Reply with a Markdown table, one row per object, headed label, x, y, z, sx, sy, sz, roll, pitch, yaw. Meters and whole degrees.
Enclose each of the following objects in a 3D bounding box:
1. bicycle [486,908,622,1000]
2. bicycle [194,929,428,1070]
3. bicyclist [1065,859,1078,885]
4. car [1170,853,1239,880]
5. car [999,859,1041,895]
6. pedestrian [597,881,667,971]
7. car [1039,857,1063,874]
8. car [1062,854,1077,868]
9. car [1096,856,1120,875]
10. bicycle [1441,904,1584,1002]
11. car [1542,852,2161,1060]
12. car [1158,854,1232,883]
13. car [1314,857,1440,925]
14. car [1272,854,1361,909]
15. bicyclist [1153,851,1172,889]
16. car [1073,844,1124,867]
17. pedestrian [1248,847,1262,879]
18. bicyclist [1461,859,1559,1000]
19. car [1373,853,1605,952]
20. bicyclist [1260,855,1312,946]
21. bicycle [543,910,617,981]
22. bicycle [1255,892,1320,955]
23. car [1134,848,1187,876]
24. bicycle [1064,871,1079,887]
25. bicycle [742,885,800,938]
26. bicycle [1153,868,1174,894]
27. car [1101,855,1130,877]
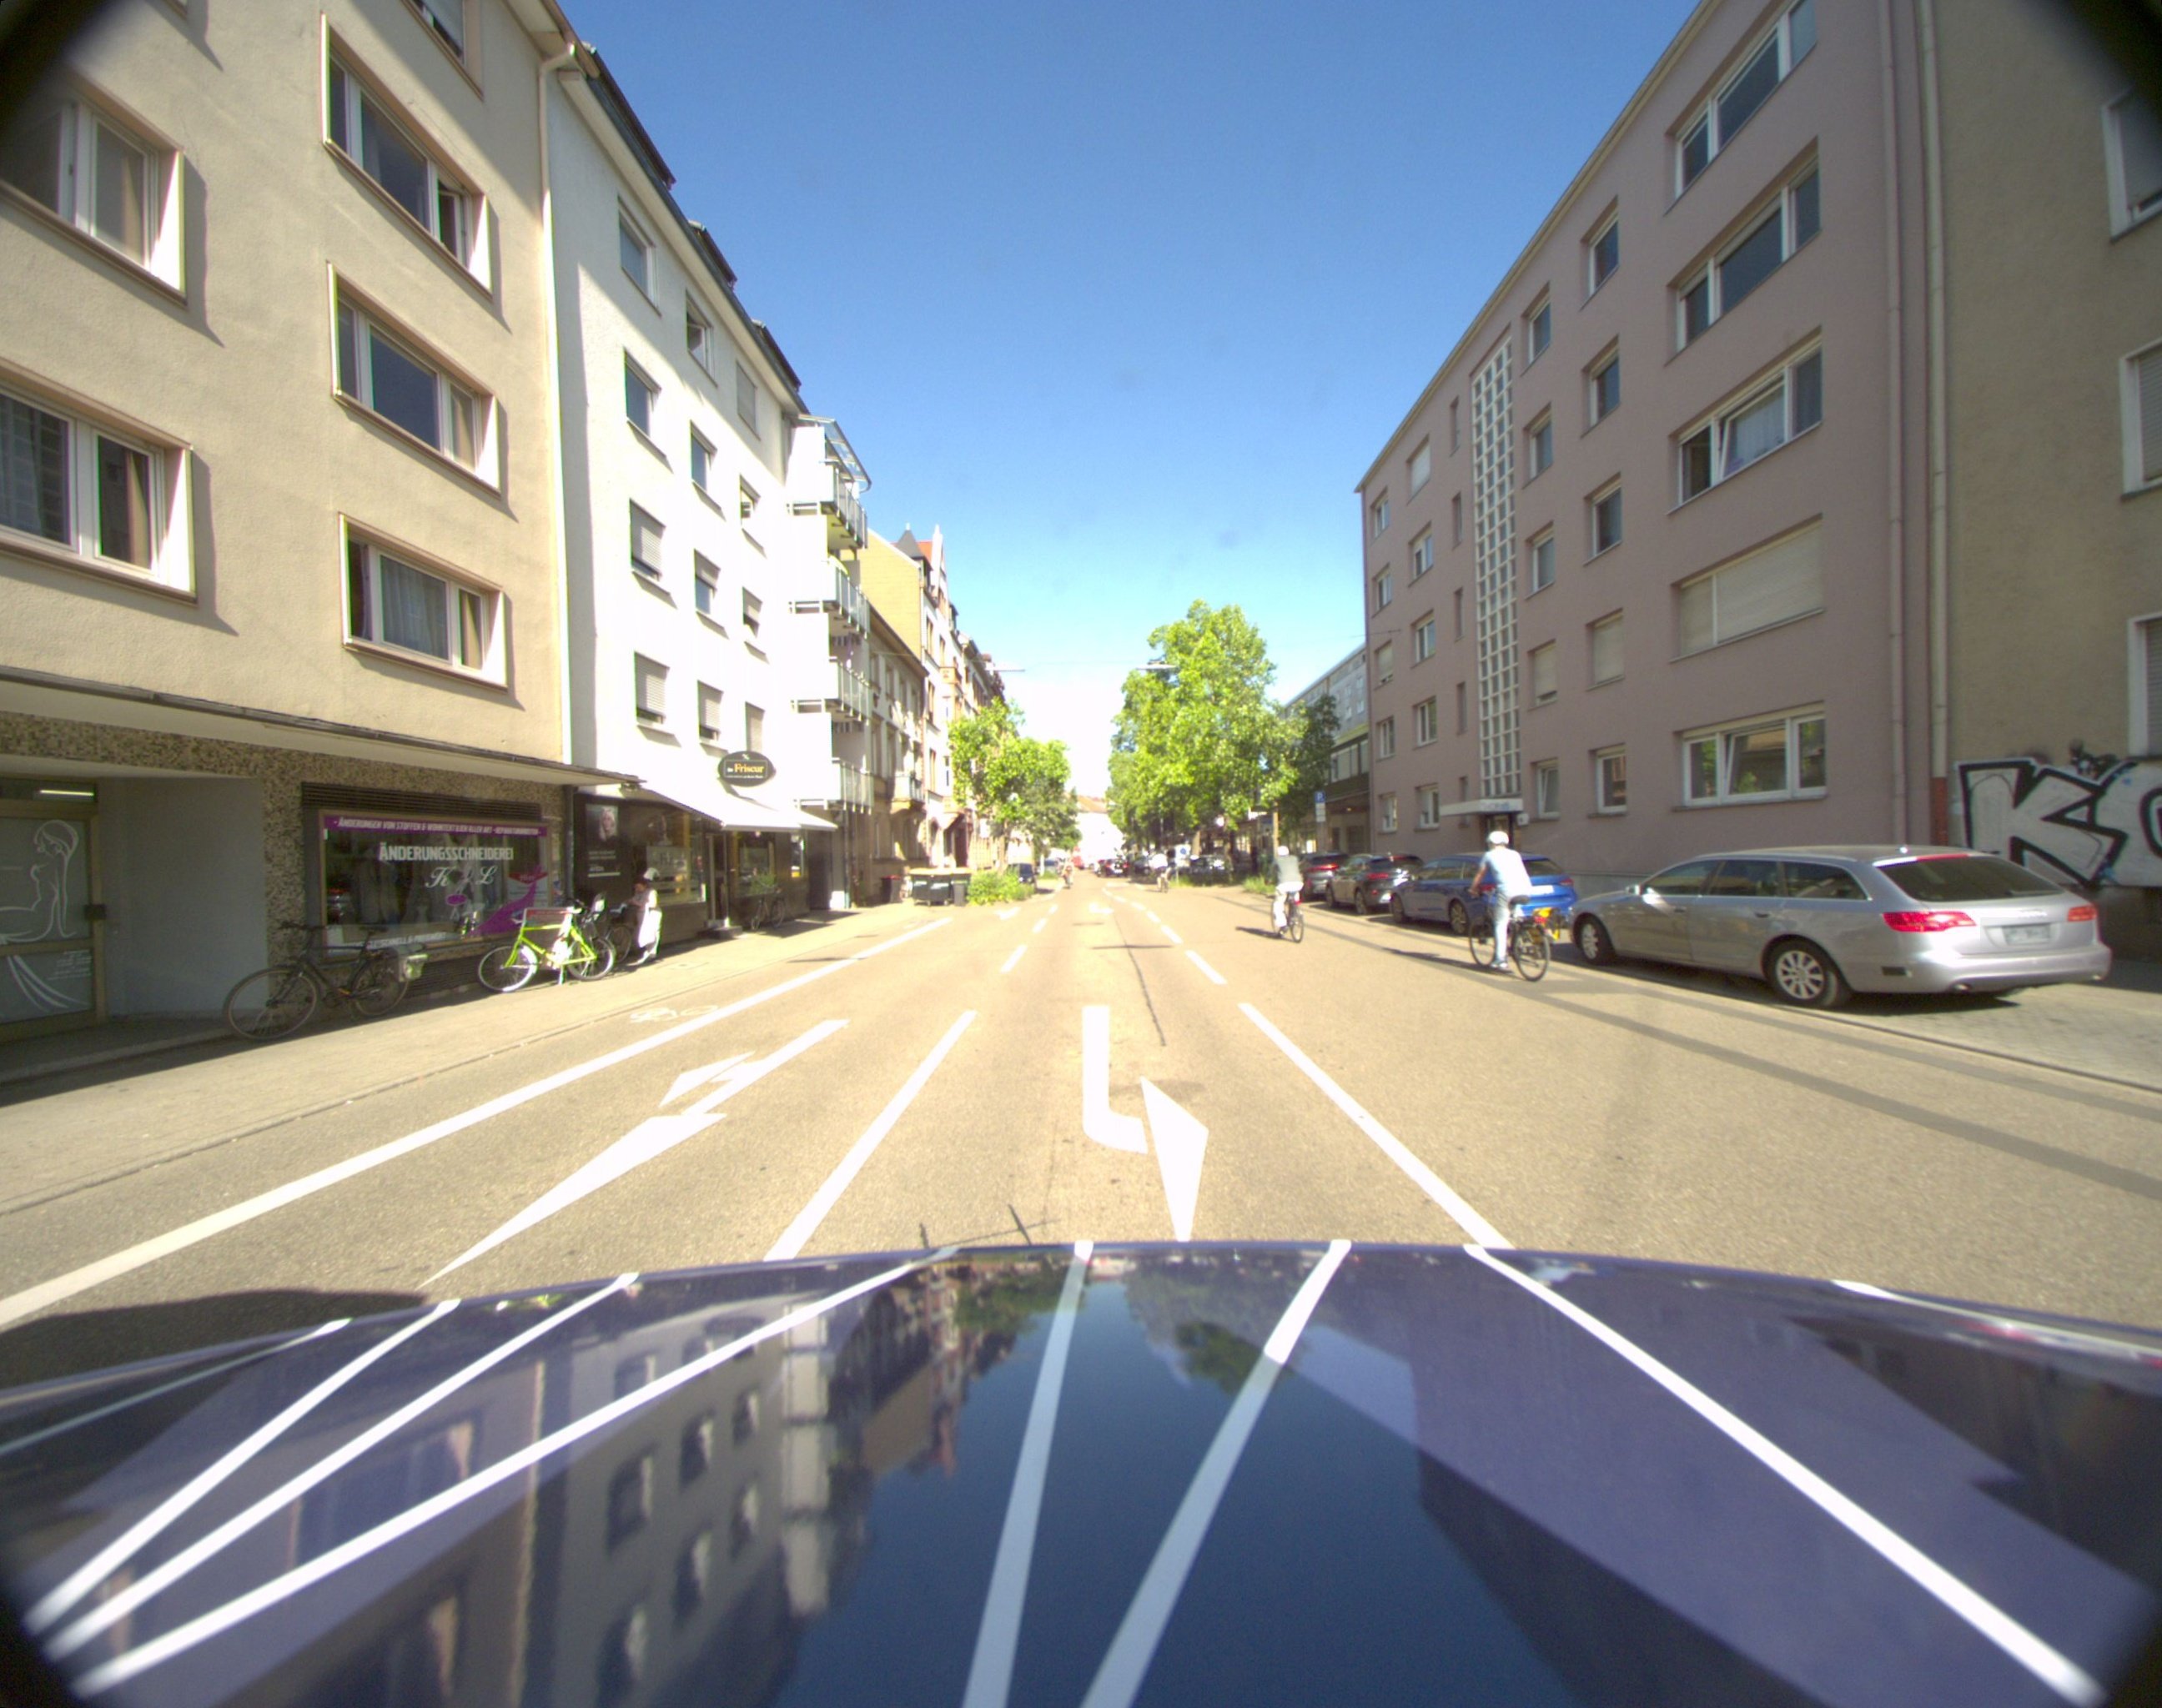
| label | x | y | z | sx | sy | sz | roll | pitch | yaw |
| --- | --- | --- | --- | --- | --- | --- | --- | --- | --- |
| bicycle | -7.363 | 1.372 | 10.704 | 1.497 | 1.100 | 0.722 | -1 | 0 | -31 |
| bicycle | -7.674 | 1.392 | 7.705 | 0.407 | 1.078 | 1.801 | 1 | 0 | 6 |
| bicyclist | -0.520 | 0.965 | 40.993 | 0.582 | 1.369 | 0.665 | -2 | 0 | 6 |
| car | 7.534 | 0.743 | 46.653 | 3.996 | 1.543 | 1.913 | -2 | 0 | 3 |
| car | -2.886 | 1.067 | 36.264 | 1.627 | 1.586 | 3.547 | -2 | 0 | 1 |
| pedestrian | -7.478 | 1.190 | 12.684 | 0.776 | 1.433 | 0.625 | 1 | 0 | -4 |
| car | -2.679 | 0.983 | 68.733 | 1.914 | 1.443 | 3.547 | -2 | 0 | 1 |
| car | -1.304 | 0.818 | 90.089 | 1.627 | 1.586 | 3.547 | -2 | 0 | 1 |
| car | 2.323 | 0.996 | 65.601 | 1.911 | 1.543 | 4.000 | -2 | 0 | 0 |
| bicycle | 5.184 | 1.147 | 9.283 | 0.681 | 0.946 | 1.934 | 0 | 0 | 1 |
| car | 7.438 | 0.795 | 8.276 | 1.828 | 1.494 | 4.801 | -4 | 0 | 0 |
| car | 6.501 | 0.827 | 43.521 | 3.996 | 1.543 | 1.913 | -2 | 0 | 3 |
| car | 7.523 | 0.871 | 19.774 | 1.727 | 1.459 | 4.158 | -4 | 0 | 2 |
| car | 7.699 | 0.835 | 25.224 | 1.727 | 1.567 | 4.158 | -4 | 0 | 2 |
| bicyclist | 3.554 | 0.698 | 33.127 | 0.718 | 1.611 | 0.946 | -1 | 1 | 1 |
| car | 2.013 | 0.144 | 83.848 | 5.572 | 2.379 | 1.973 | -2 | 0 | -38 |
| pedestrian | 9.938 | 0.536 | 43.460 | 0.623 | 1.795 | 0.502 | -2 | 0 | 2 |
| bicyclist | 5.183 | 0.874 | 9.229 | 0.681 | 1.621 | 0.899 | 0 | 0 | 1 |
| car | 7.560 | 0.802 | 14.770 | 1.828 | 1.494 | 4.801 | -4 | 0 | 0 |
| bicyclist | 3.634 | 0.809 | 13.523 | 0.681 | 1.567 | 0.899 | 0 | 0 | 1 |
| bicycle | -7.849 | 1.413 | 11.947 | 0.376 | 0.977 | 1.175 | -1 | 0 | -2 |
| bicycle | 3.669 | 1.212 | 13.651 | 0.681 | 0.946 | 1.934 | 0 | 0 | 1 |
| car | 5.981 | 0.600 | 57.719 | 3.875 | 2.031 | 1.913 | -2 | 0 | 3 |
| bicycle | -0.502 | 1.355 | 41.063 | 0.582 | 0.801 | 1.710 | -2 | 0 | 6 |
| bicycle | -7.408 | 1.343 | 18.234 | 0.598 | 1.137 | 1.774 | 1 | 0 | 1 |
| bicycle | 3.564 | 1.164 | 33.087 | 0.718 | 1.057 | 1.872 | -1 | 0 | 1 |
| car | 2.506 | 0.866 | 56.171 | 1.911 | 1.543 | 4.000 | -2 | 0 | 0 |
